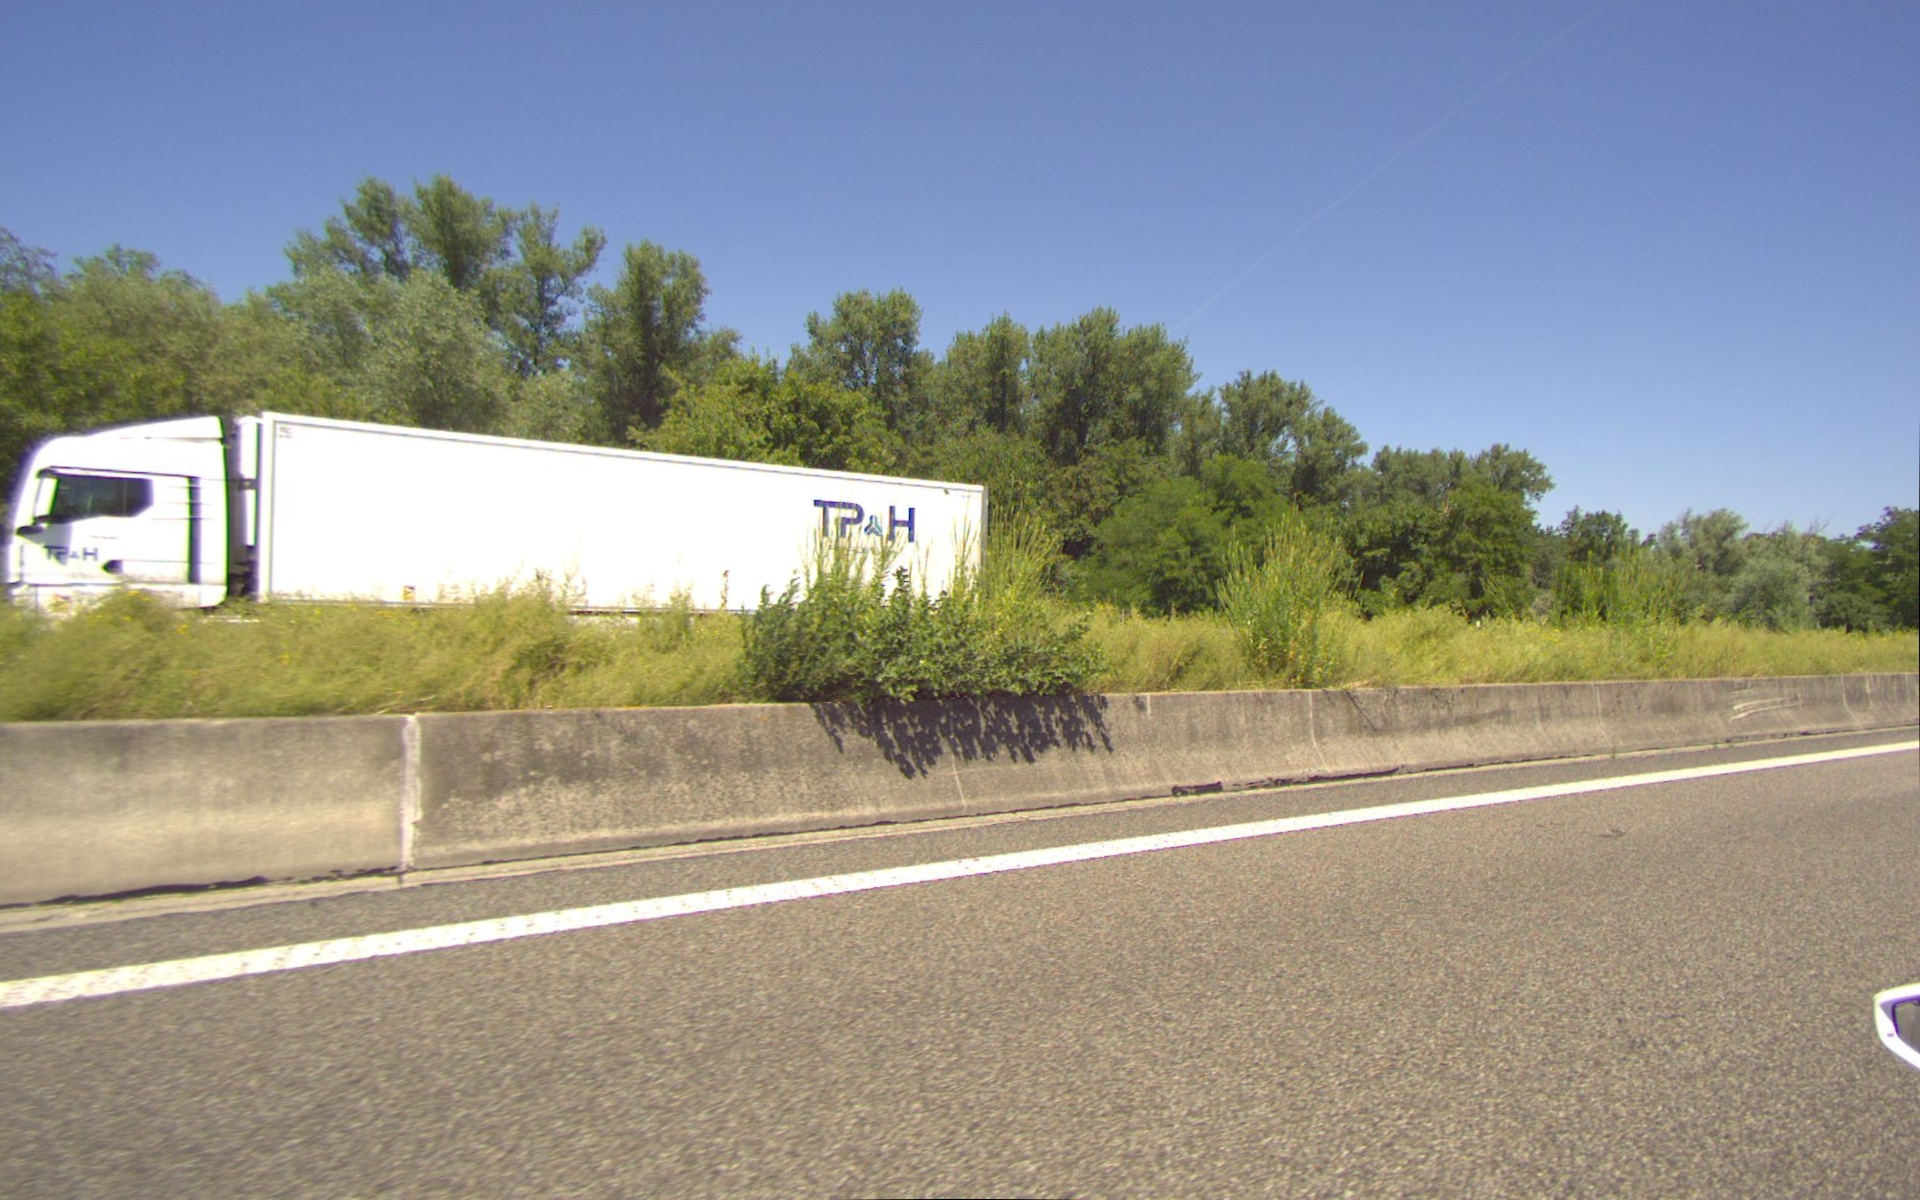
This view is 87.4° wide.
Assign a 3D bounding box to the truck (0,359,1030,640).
[{"bbox_3d":[-6.705,-1.220,19.815,17.289,3.785,3.579,2,0,-32],"label":"truck"}]
